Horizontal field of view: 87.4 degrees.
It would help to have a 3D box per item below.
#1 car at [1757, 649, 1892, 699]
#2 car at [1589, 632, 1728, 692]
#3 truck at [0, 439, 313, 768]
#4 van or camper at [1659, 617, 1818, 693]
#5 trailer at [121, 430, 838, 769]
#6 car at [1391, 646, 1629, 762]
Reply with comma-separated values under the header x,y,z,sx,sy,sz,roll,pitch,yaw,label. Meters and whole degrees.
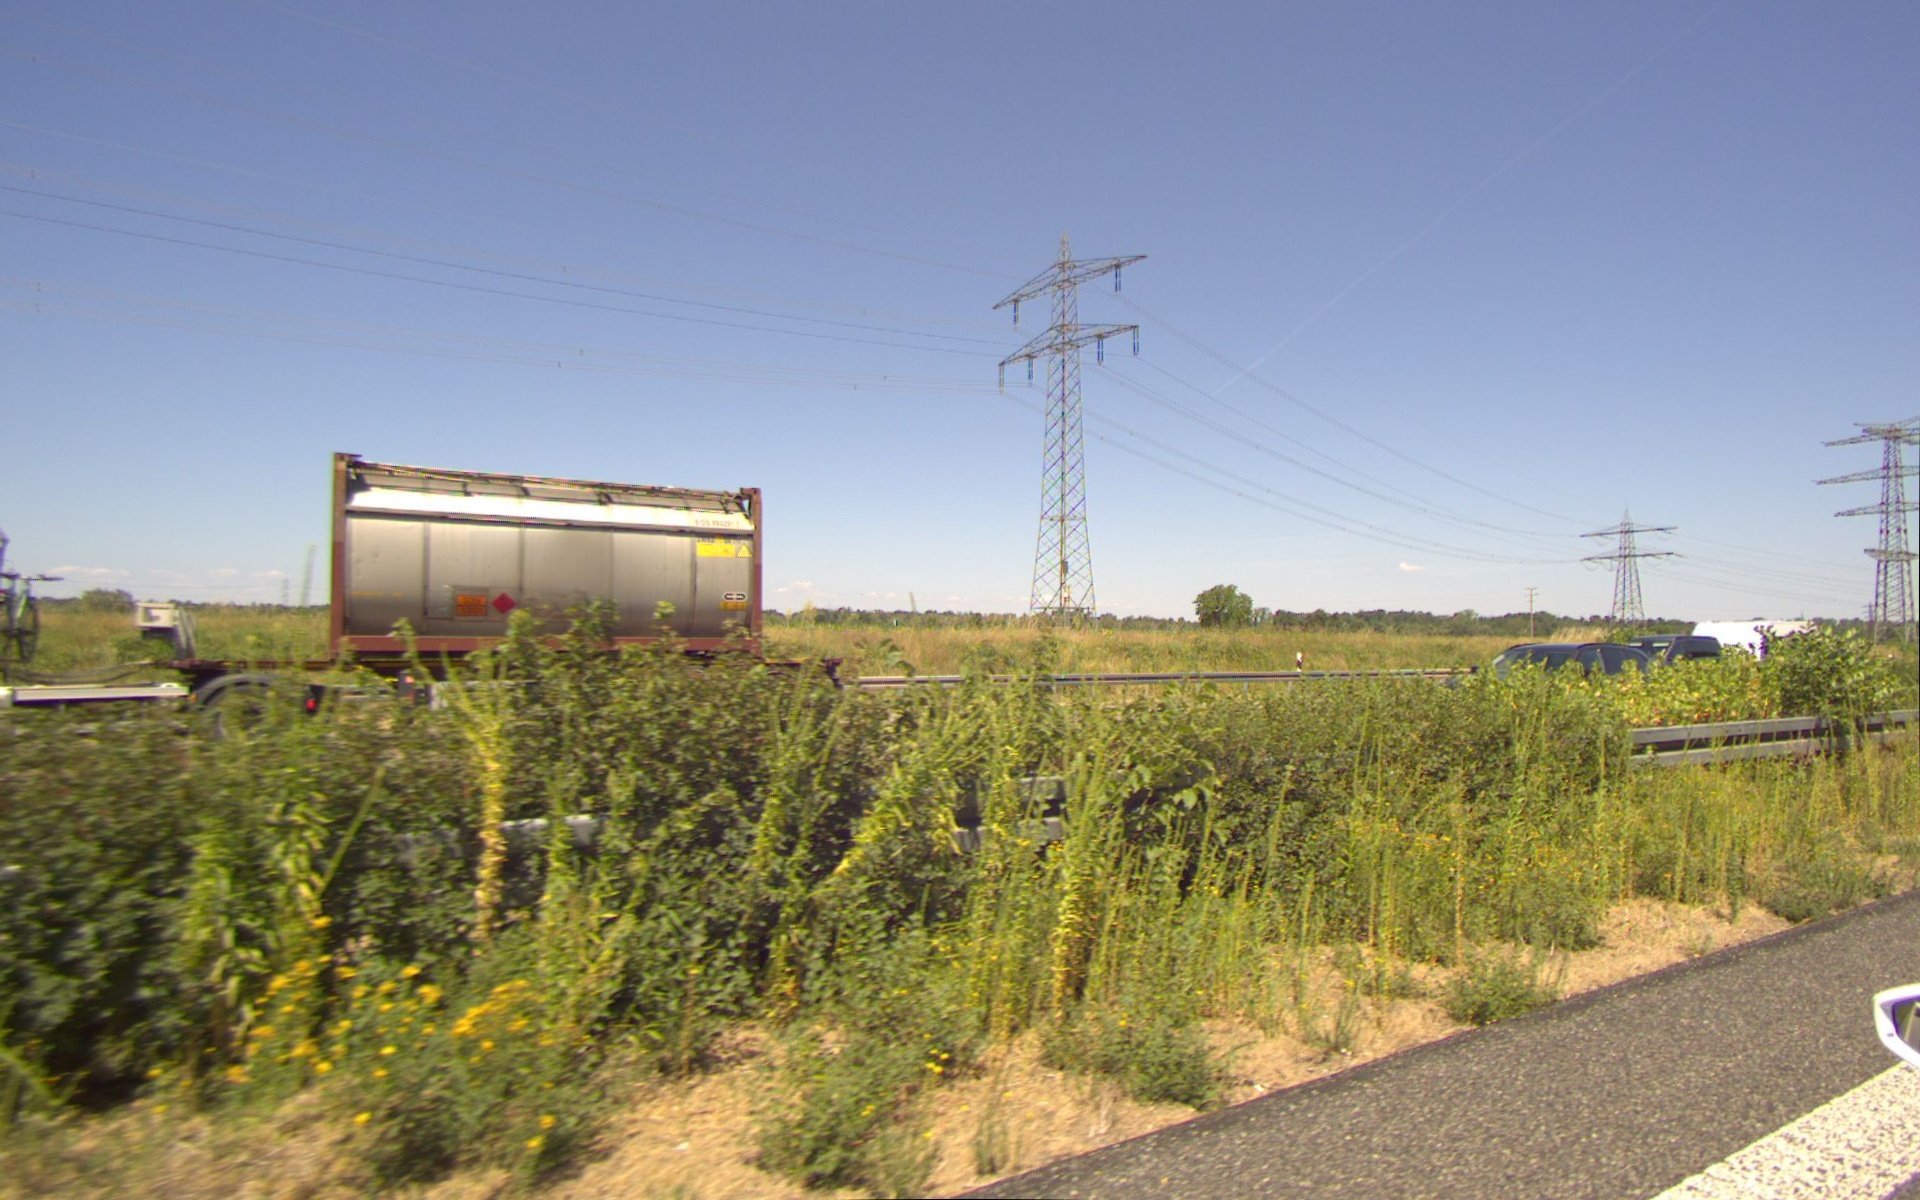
x,y,z,sx,sy,sz,roll,pitch,yaw,label
26.004,2.168,30.163,4.824,1.394,1.548,2,-2,-30,car
23.419,2.044,33.620,4.814,1.878,2.037,2,-2,-31,car
-11.647,0.077,12.721,5.581,3.776,2.712,2,-2,-31,truck
28.560,1.981,36.813,6.408,2.551,2.431,2,-2,-31,van or camper
-6.744,0.139,15.695,9.315,4.099,2.723,2,-2,-31,trailer
8.524,1.514,15.490,3.955,1.572,1.462,2,-2,-32,car
